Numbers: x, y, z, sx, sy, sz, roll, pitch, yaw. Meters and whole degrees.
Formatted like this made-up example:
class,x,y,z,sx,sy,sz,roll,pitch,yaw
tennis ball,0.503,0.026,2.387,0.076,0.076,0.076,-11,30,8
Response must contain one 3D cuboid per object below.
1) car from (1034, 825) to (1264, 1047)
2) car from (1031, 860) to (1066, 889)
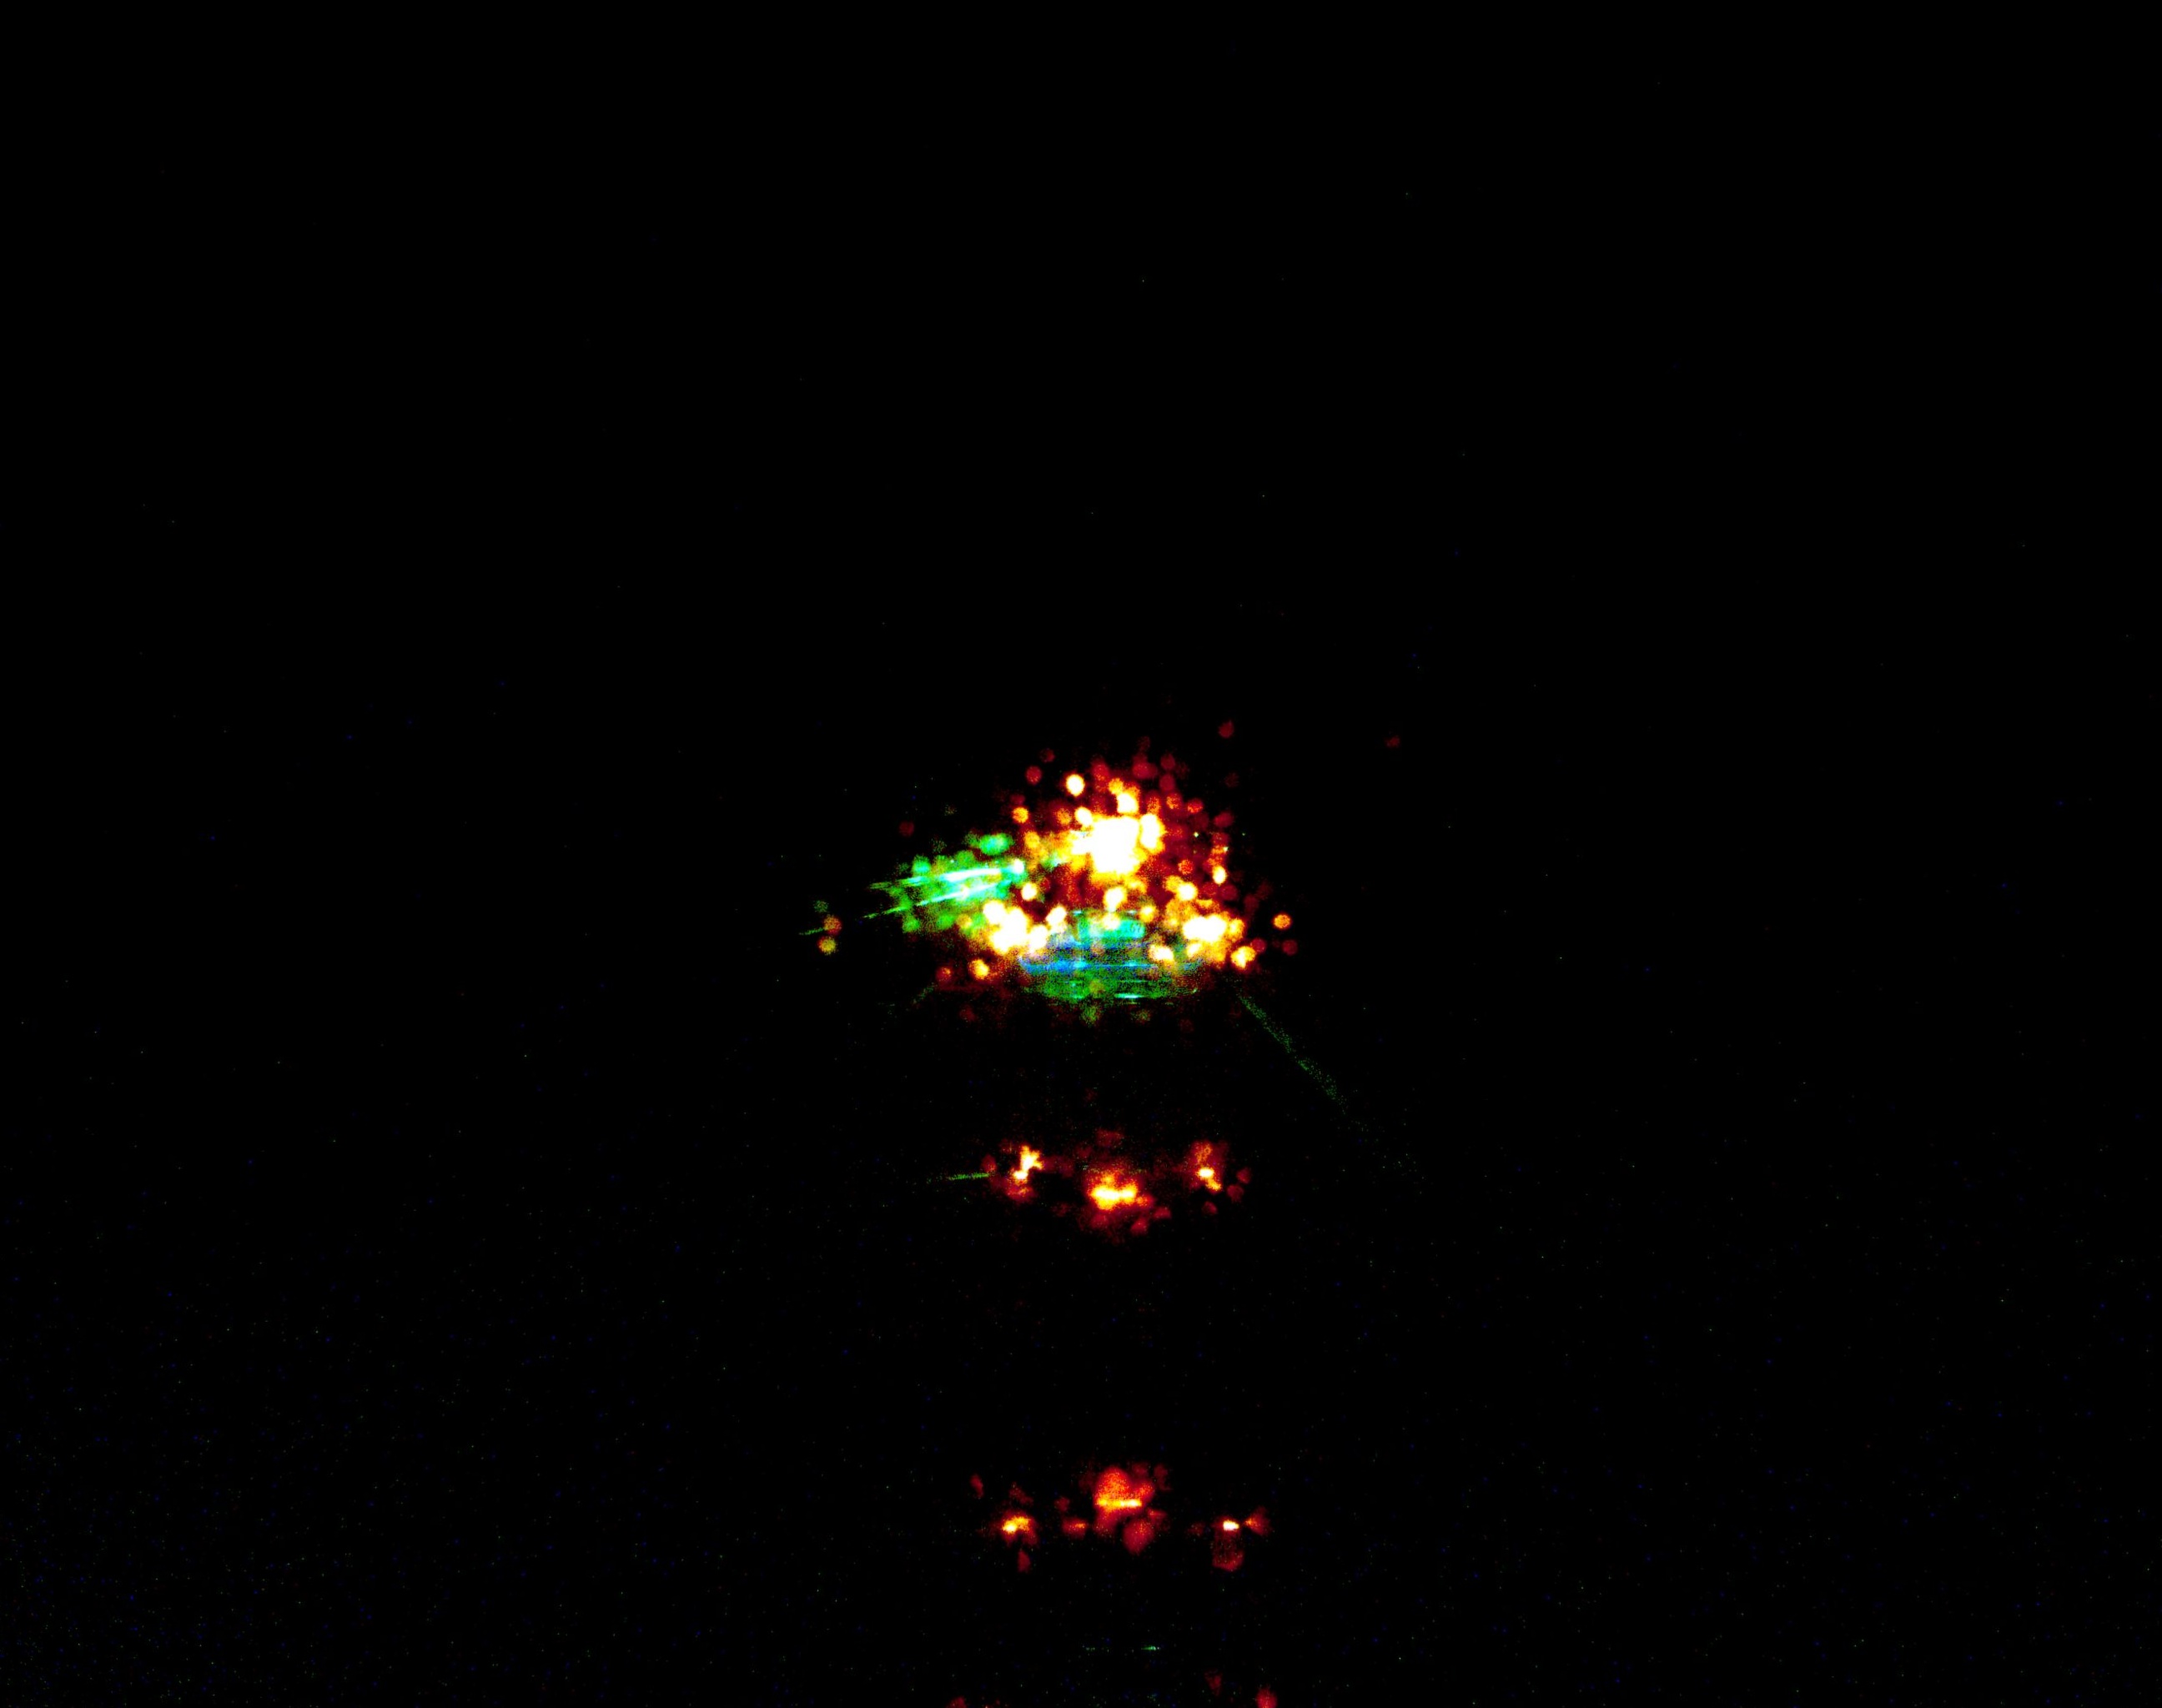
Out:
class,x,y,z,sx,sy,sz,roll,pitch,yaw
car,0.606,0.641,8.343,1.768,1.712,4.002,0,0,2
car,-1.951,1.232,50.620,1.945,1.656,4.124,-2,0,0
